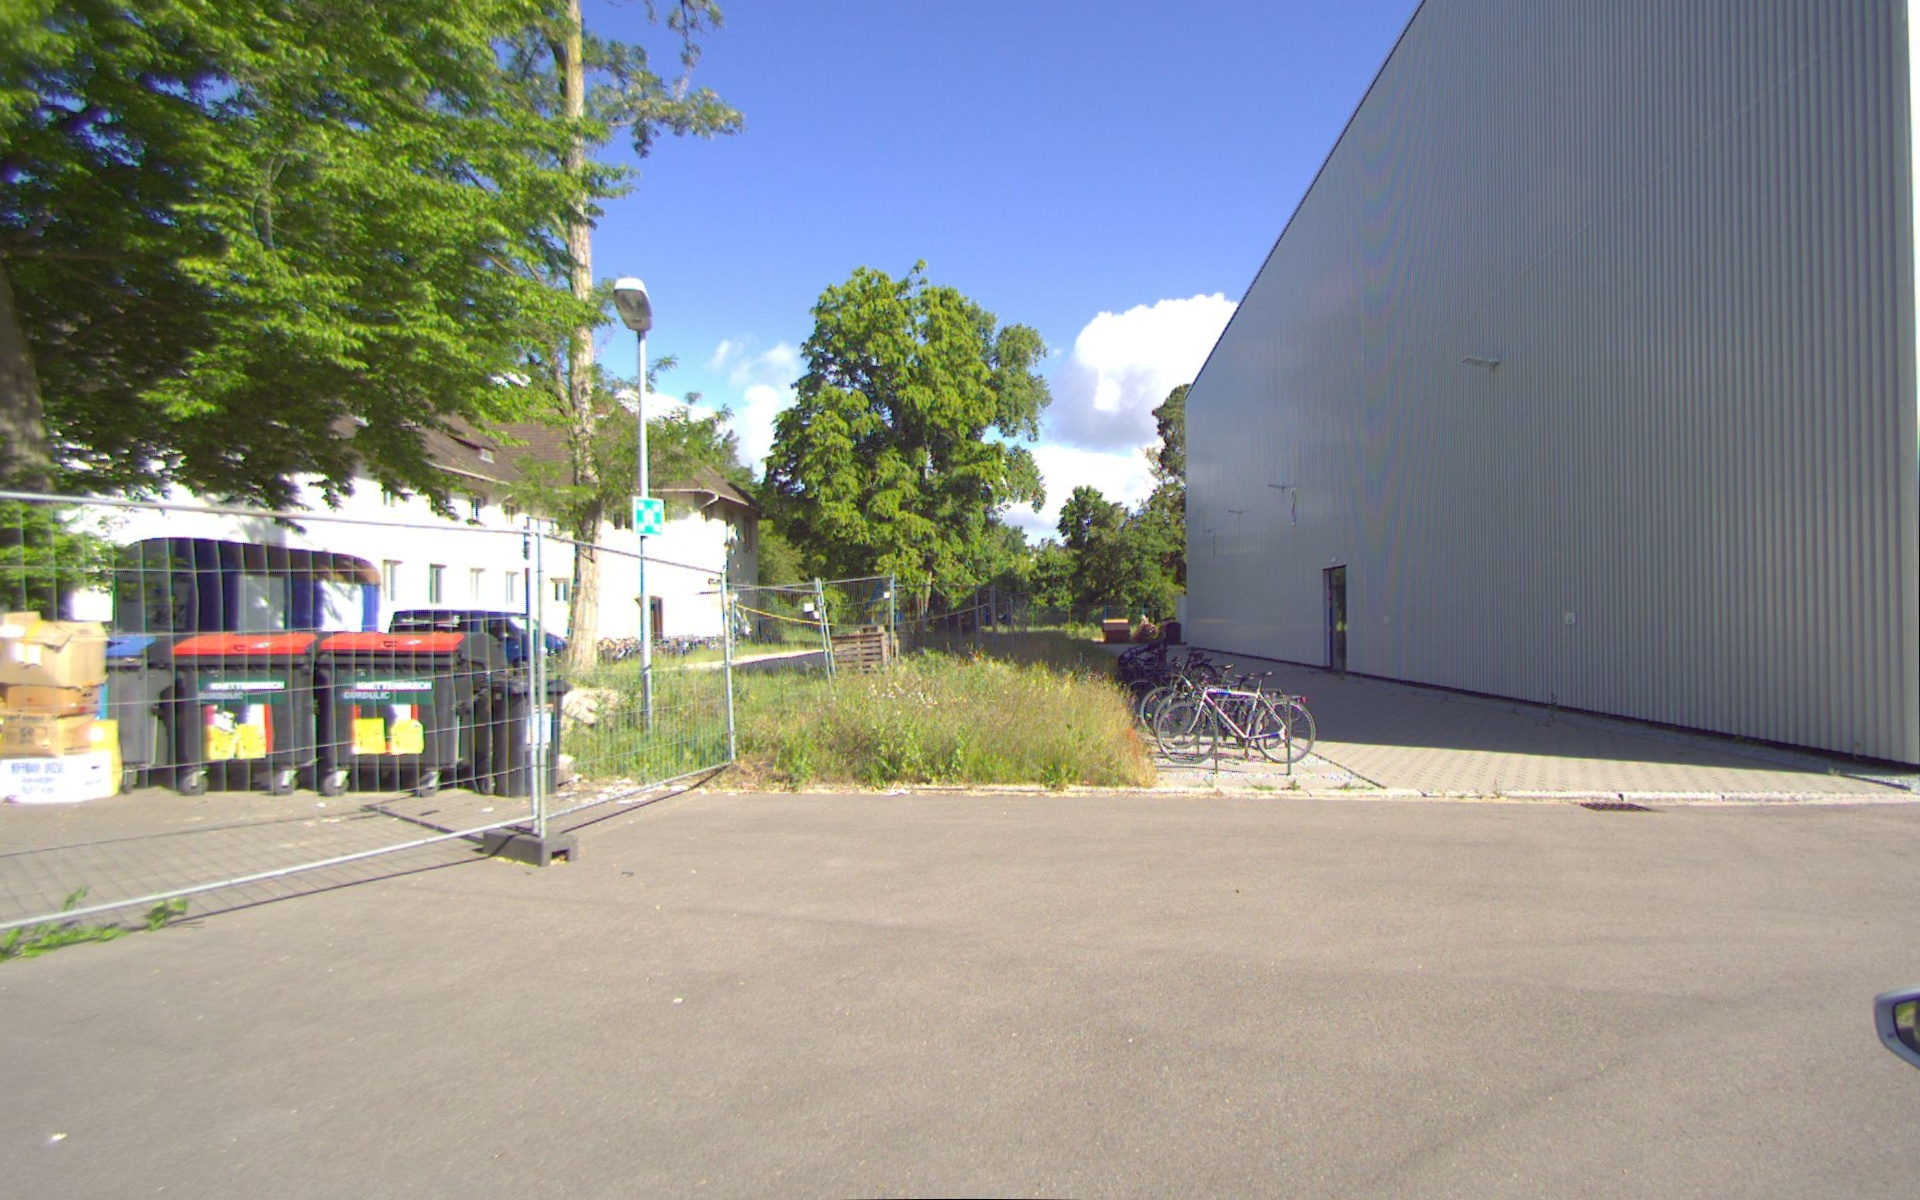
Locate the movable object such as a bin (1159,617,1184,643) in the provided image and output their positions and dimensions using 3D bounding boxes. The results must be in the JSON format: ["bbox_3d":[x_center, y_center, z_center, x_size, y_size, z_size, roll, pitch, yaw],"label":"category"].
[{"bbox_3d":[13.932,1.974,66.376,1.340,1.678,2.844,-1,-2,7],"label":"movable object such as a bin"}]

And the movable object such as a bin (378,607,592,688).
[{"bbox_3d":[-12.522,1.241,26.675,4.790,1.996,1.933,-1,-1,2],"label":"movable object such as a bin"}]

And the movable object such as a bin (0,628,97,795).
[{"bbox_3d":[-8.897,0.998,9.204,1.065,1.457,1.057,-1,-1,7],"label":"movable object such as a bin"}]

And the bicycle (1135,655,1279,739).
[{"bbox_3d":[3.350,1.316,13.717,1.851,1.096,0.433,-1,-1,4],"label":"bicycle"}]

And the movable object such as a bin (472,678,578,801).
[{"bbox_3d":[-3.900,1.225,9.020,0.631,1.020,0.605,-1,-1,20],"label":"movable object such as a bin"}]

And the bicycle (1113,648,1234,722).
[{"bbox_3d":[3.436,1.366,16.235,1.851,1.141,0.433,-1,-1,4],"label":"bicycle"}]

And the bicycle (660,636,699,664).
[{"bbox_3d":[-10.488,1.869,37.580,1.406,0.997,0.261,-1,-1,3],"label":"bicycle"}]

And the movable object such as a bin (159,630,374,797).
[{"bbox_3d":[-6.392,1.011,9.334,1.266,1.445,1.033,-1,-1,2],"label":"movable object such as a bin"}]

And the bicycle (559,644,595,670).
[{"bbox_3d":[-15.754,2.353,41.341,1.406,1.057,0.261,-1,-1,3],"label":"bicycle"}]

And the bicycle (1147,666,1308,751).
[{"bbox_3d":[3.279,1.331,12.391,1.851,0.991,0.433,-1,-1,4],"label":"bicycle"}]

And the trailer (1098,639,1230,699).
[{"bbox_3d":[4.386,1.477,21.828,2.665,1.215,1.246,-1,-1,4],"label":"trailer"}]

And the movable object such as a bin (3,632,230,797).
[{"bbox_3d":[-7.883,1.040,9.453,1.266,1.445,1.033,-1,-1,2],"label":"movable object such as a bin"}]

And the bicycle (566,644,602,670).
[{"bbox_3d":[-15.713,2.370,41.938,1.406,1.057,0.261,-1,-1,3],"label":"bicycle"}]

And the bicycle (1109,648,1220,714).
[{"bbox_3d":[3.582,1.416,17.648,1.851,1.118,0.433,-1,-1,4],"label":"bicycle"}]

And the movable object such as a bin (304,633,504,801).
[{"bbox_3d":[-5.096,1.040,9.297,1.266,1.445,1.033,-1,-1,1],"label":"movable object such as a bin"}]

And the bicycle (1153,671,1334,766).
[{"bbox_3d":[3.101,1.296,11.082,1.851,0.991,0.433,-1,-1,4],"label":"bicycle"}]

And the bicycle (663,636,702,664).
[{"bbox_3d":[-10.471,1.886,37.871,1.406,0.997,0.261,-1,-1,3],"label":"bicycle"}]
